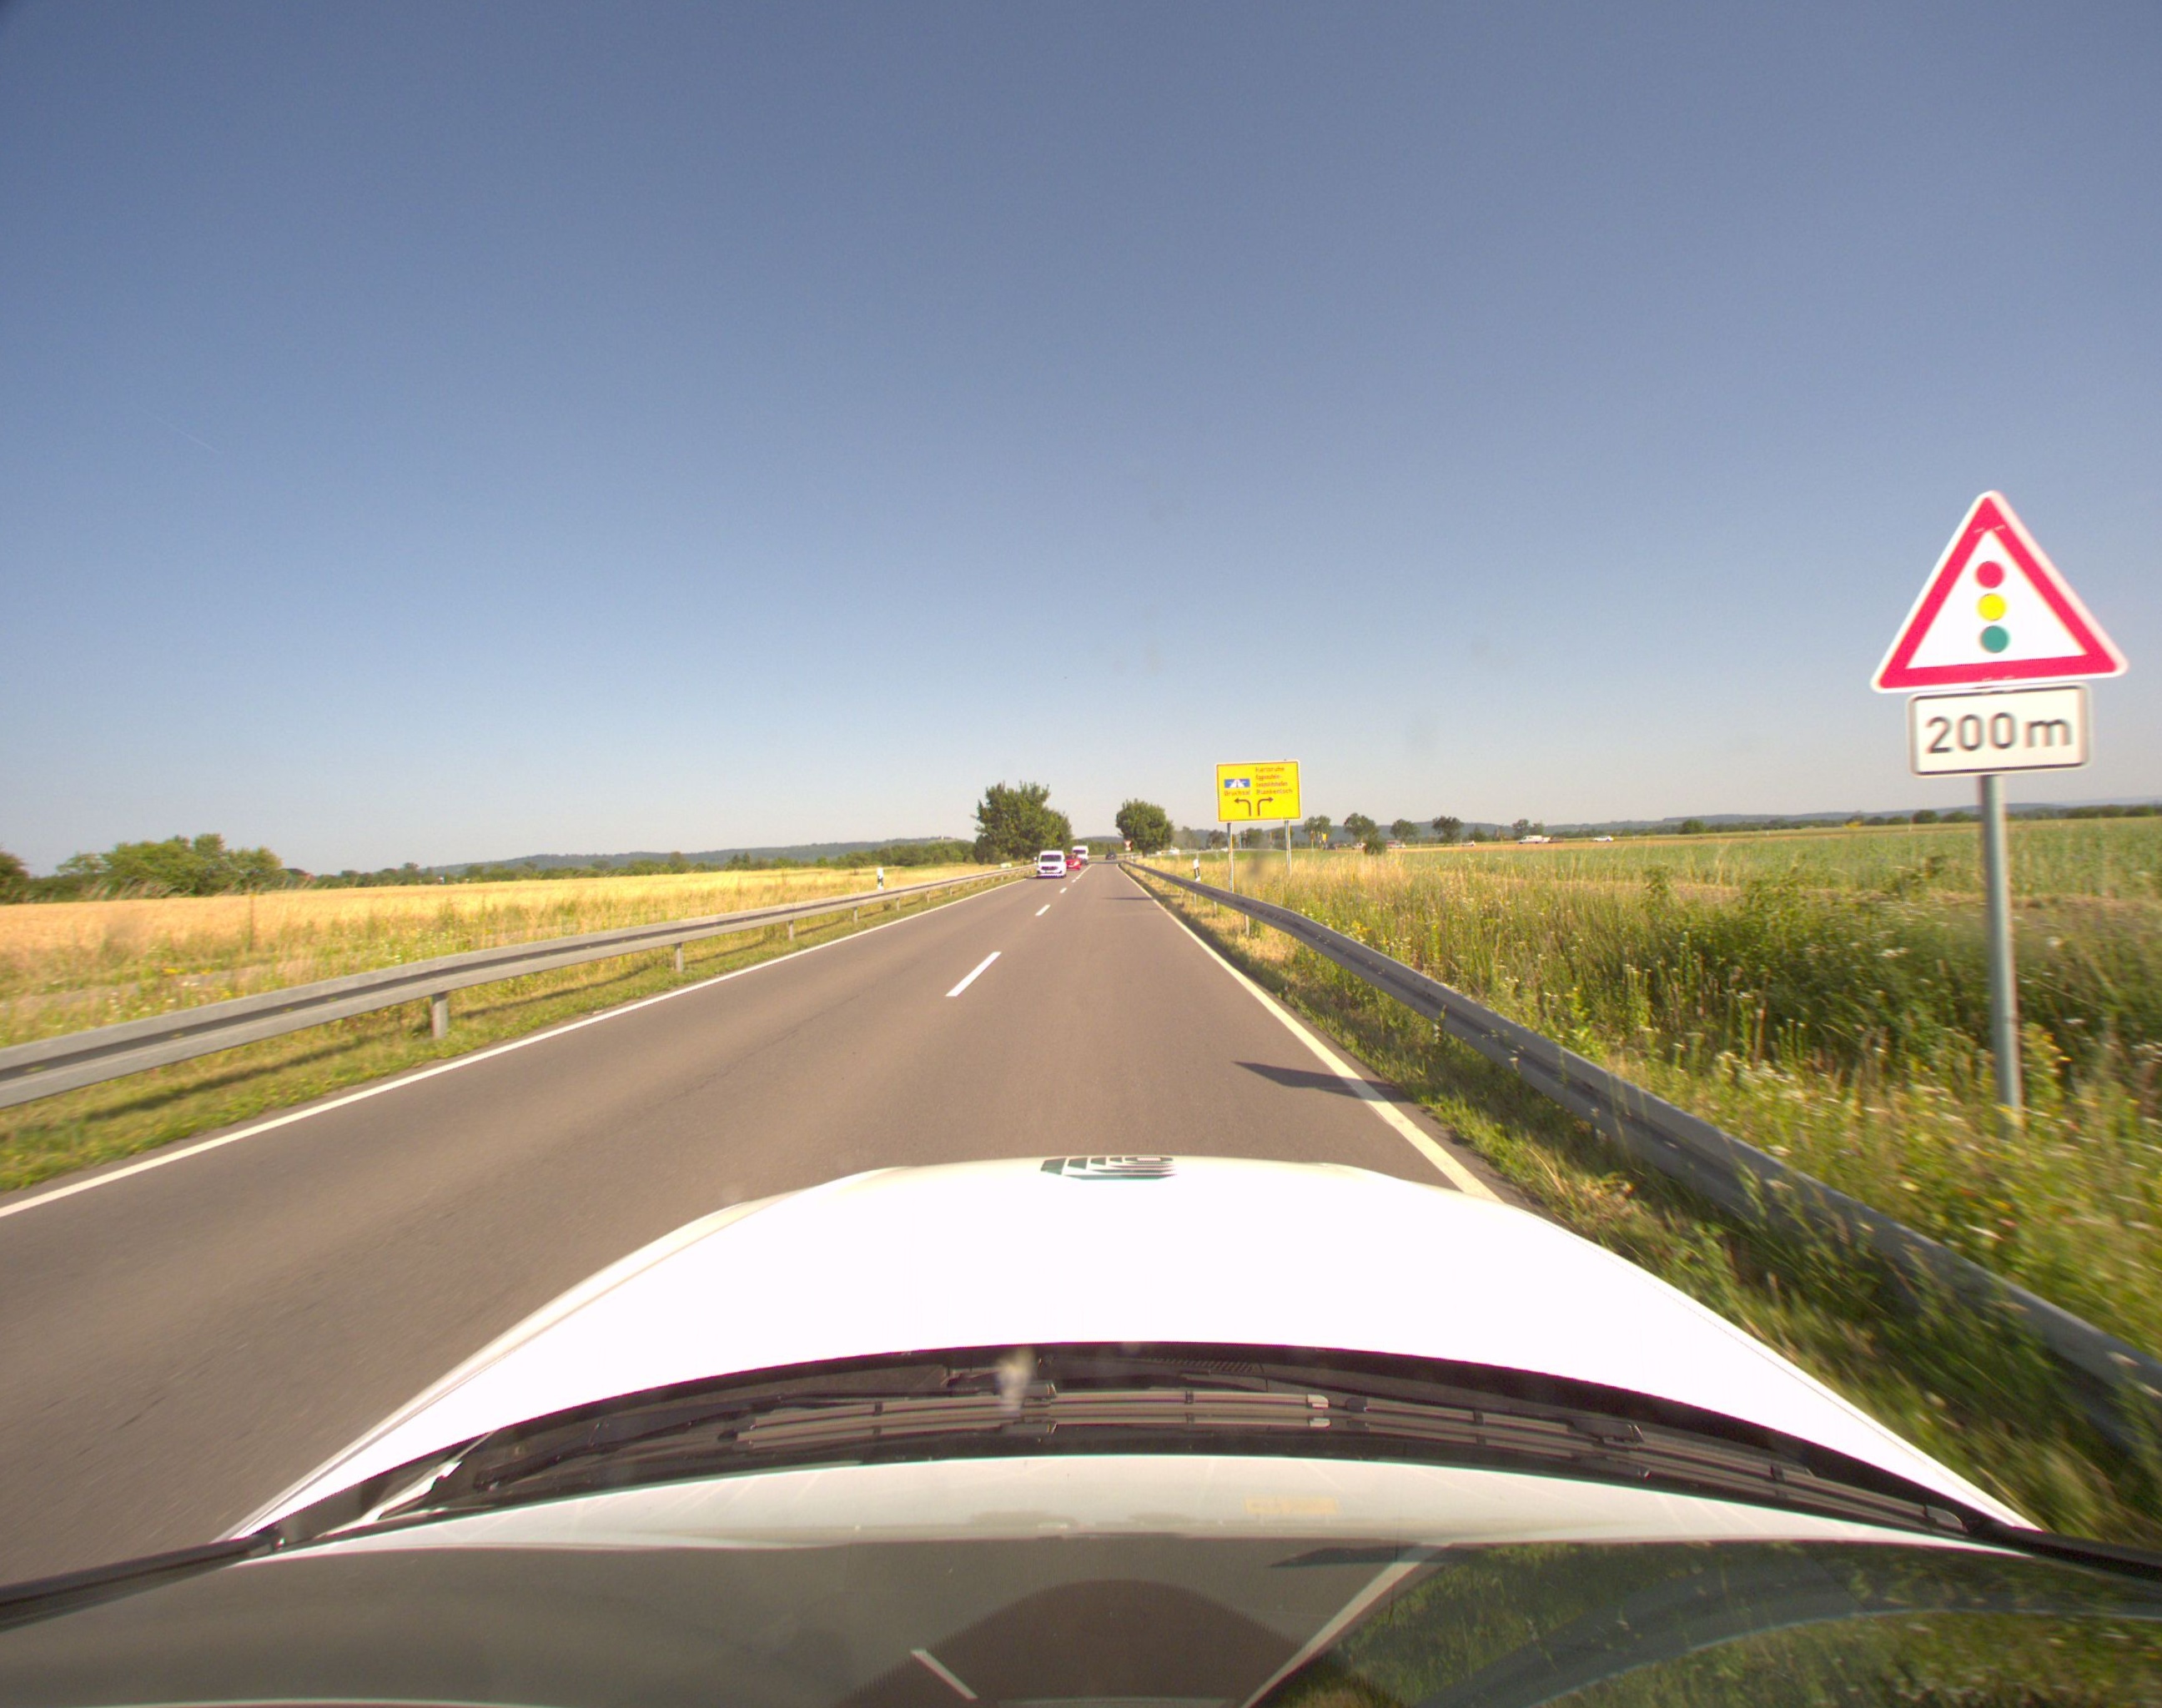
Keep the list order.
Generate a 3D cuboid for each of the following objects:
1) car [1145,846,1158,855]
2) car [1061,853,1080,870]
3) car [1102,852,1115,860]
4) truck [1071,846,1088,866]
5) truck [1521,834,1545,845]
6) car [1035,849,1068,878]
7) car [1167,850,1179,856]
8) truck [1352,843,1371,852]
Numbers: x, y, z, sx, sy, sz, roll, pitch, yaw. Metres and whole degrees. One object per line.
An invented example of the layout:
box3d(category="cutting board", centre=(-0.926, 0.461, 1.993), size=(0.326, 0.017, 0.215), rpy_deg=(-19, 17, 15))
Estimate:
box3d(category="car", centre=(16.217, -0.791, 186.845), size=(1.978, 1.884, 4.612), rpy_deg=(0, 0, 17))
box3d(category="car", centre=(-0.942, 0.688, 77.287), size=(1.601, 1.488, 3.781), rpy_deg=(-1, 0, 2))
box3d(category="car", centre=(5.135, 0.381, 149.934), size=(1.633, 1.471, 3.820), rpy_deg=(-1, 0, 13))
box3d(category="truck", centre=(-0.145, 0.214, 106.385), size=(1.986, 2.520, 6.246), rpy_deg=(-2, 0, 2))
box3d(category="truck", centre=(122.557, -3.824, 220.859), size=(5.526, 2.695, 3.315), rpy_deg=(-1, -1, 34))
box3d(category="car", centre=(-1.927, 0.589, 53.905), size=(1.829, 1.787, 4.437), rpy_deg=(-2, 0, 2))
box3d(category="car", centre=(22.965, -0.179, 202.385), size=(1.886, 1.532, 4.615), rpy_deg=(0, 0, 20))
box3d(category="truck", centre=(85.101, -1.968, 246.851), size=(2.012, 2.529, 5.004), rpy_deg=(1, -1, -45))
